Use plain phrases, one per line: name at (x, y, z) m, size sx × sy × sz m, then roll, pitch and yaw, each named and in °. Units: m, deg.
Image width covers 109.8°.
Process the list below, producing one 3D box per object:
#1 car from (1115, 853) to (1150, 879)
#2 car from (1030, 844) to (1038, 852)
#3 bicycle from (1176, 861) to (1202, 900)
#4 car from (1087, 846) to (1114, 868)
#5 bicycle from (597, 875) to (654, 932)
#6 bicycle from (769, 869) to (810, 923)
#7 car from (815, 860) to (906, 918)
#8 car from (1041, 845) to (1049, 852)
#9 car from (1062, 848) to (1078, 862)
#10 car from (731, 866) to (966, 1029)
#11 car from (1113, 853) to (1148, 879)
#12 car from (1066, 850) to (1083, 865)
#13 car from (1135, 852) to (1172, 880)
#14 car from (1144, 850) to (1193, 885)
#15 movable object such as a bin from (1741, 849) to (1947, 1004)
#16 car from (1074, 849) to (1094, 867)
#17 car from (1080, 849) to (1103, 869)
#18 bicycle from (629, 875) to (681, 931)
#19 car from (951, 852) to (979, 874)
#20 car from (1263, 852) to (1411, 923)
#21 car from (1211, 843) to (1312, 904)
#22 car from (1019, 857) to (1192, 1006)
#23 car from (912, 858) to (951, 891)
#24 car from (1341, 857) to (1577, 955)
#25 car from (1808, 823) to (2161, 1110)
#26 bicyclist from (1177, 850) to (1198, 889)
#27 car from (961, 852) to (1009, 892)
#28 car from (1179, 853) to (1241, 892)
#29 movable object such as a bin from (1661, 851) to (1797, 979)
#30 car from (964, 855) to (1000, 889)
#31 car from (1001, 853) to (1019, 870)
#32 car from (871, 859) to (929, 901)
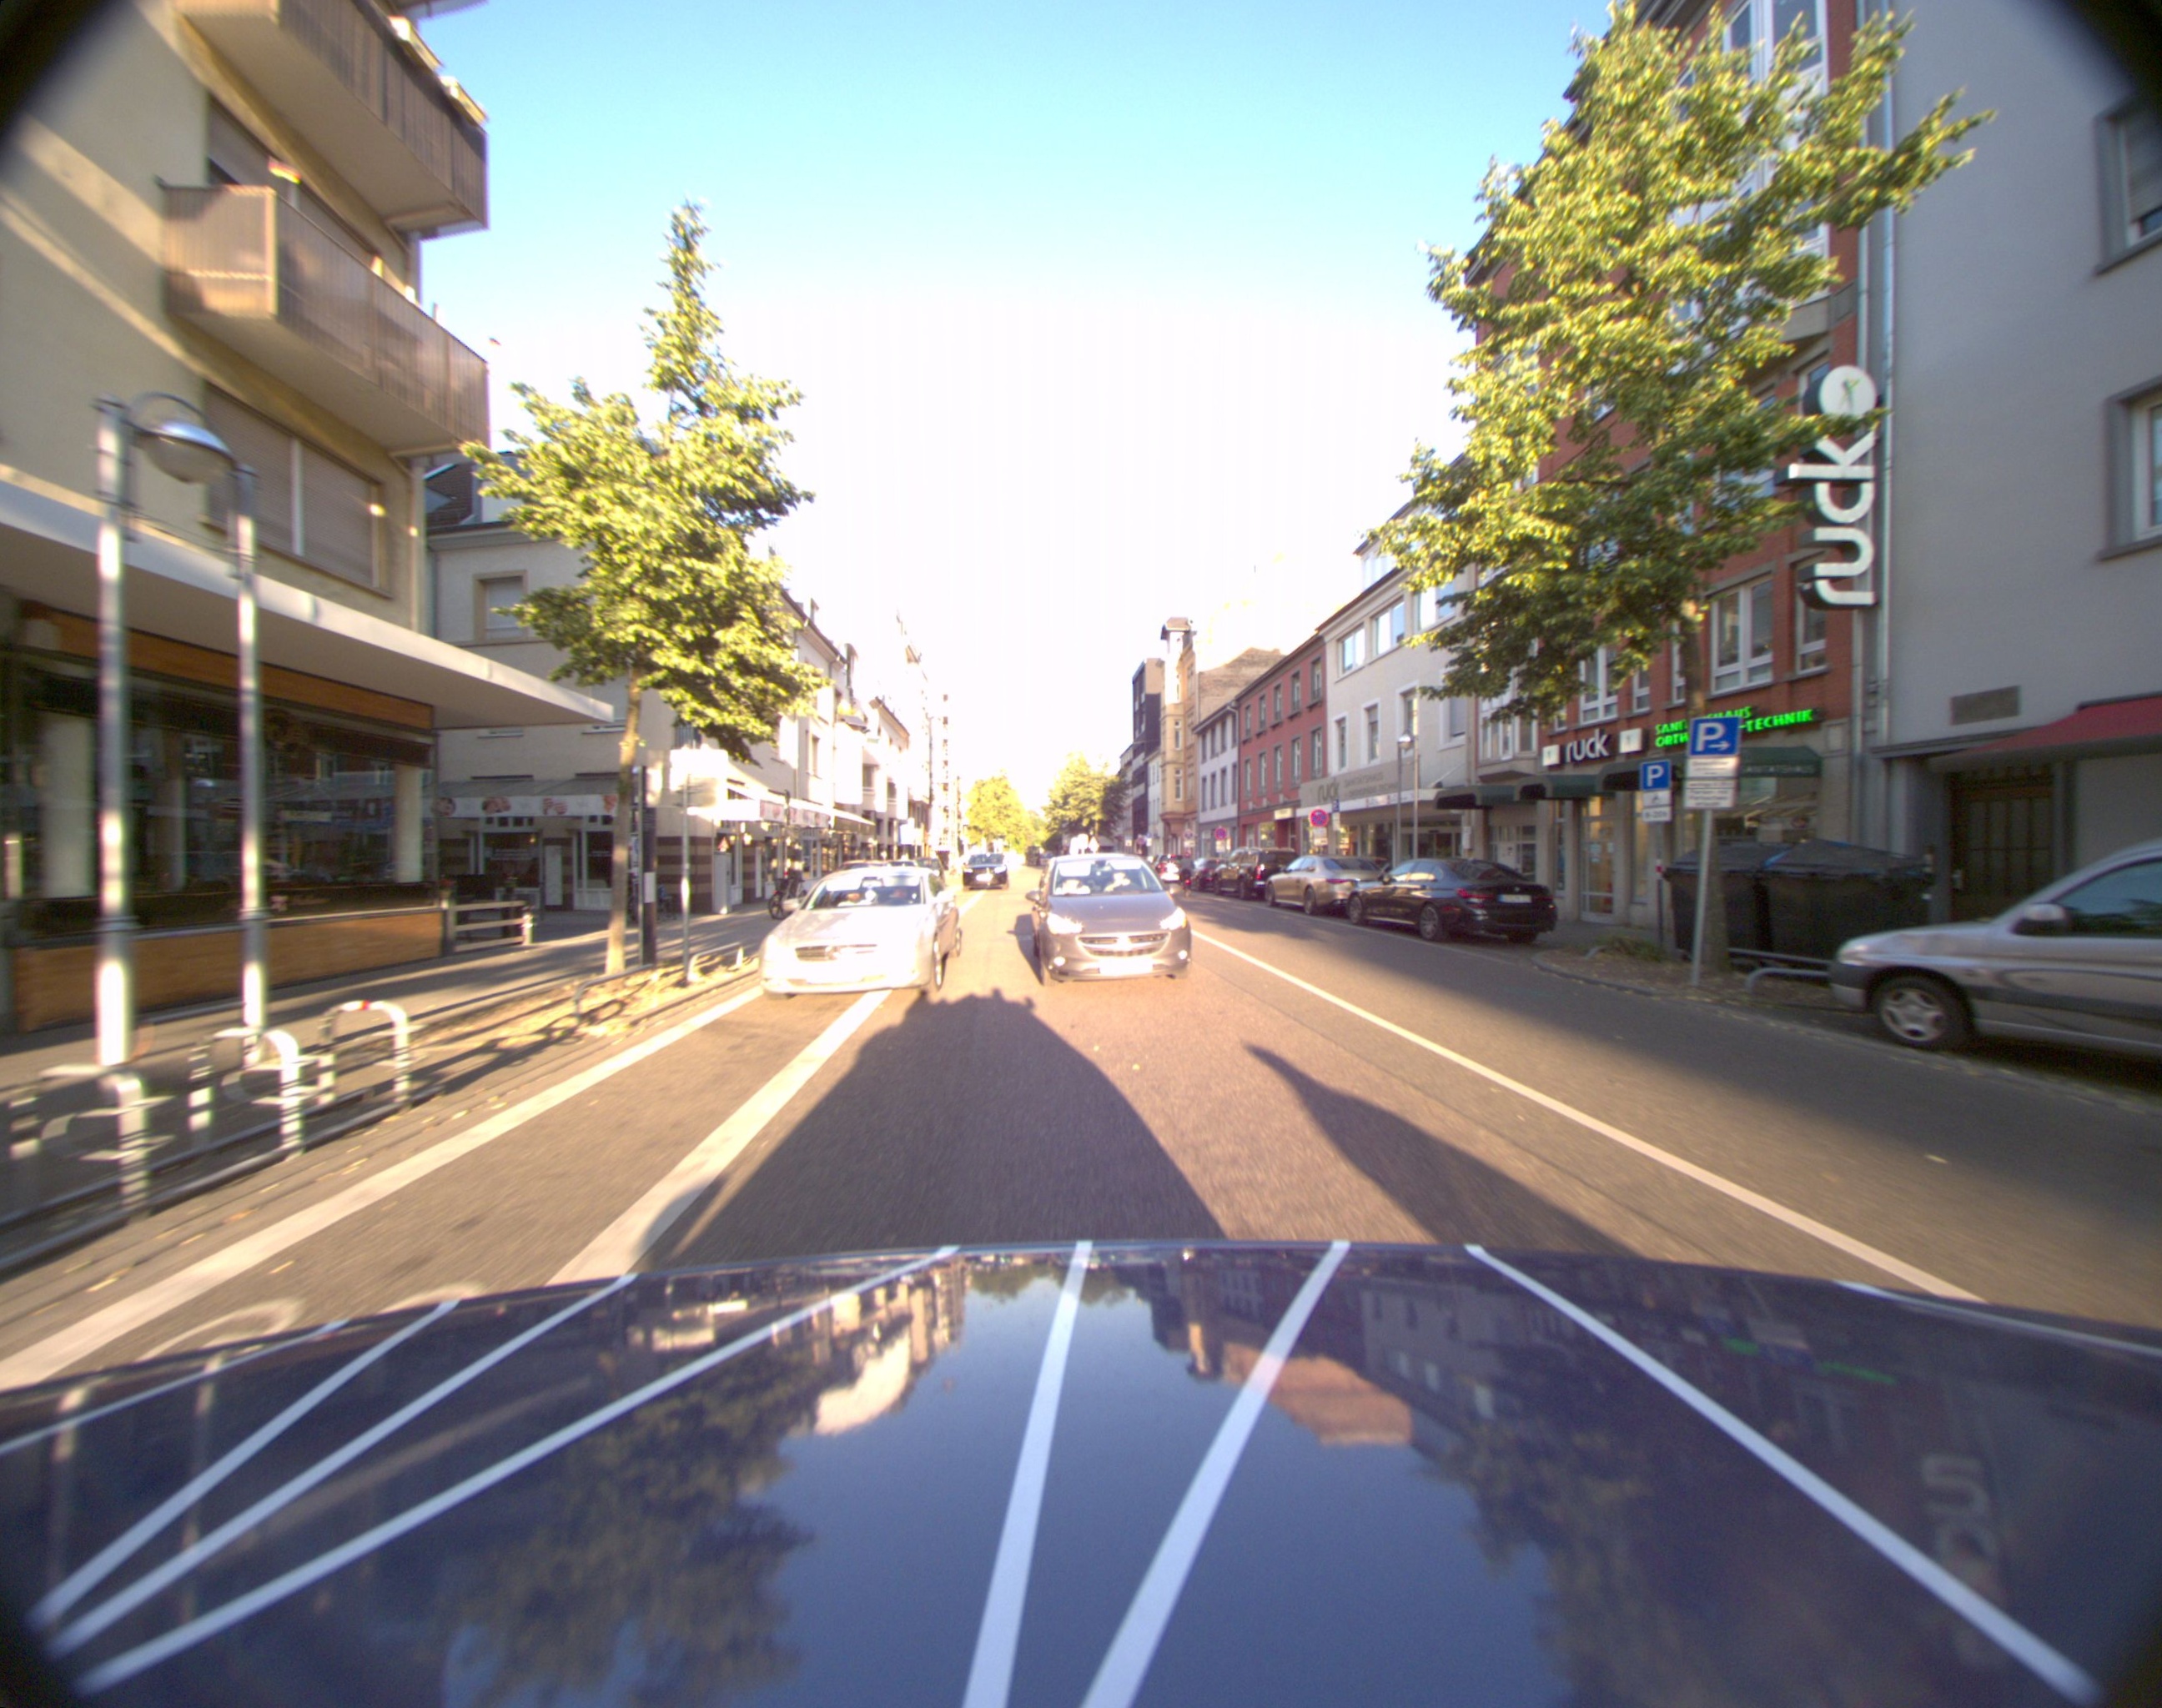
car at (3.347, 0.761, 50.038) m, size 1.792 × 1.504 × 3.776 m, roll -1°, pitch 1°, yaw -5°
car at (-10.458, -1.396, 167.274) m, size 1.673 × 1.630 × 3.254 m, roll -2°, pitch 1°, yaw -4°
bicycle at (3.710, 0.889, 26.231) m, size 0.420 × 1.230 × 1.693 m, roll -2°, pitch 1°, yaw -7°
car at (1.558, 0.198, 61.646) m, size 1.796 × 1.606 × 3.970 m, roll -2°, pitch 1°, yaw -4°
bicycle at (-10.227, 1.074, 17.133) m, size 0.332 × 1.123 × 2.010 m, roll -1°, pitch 1°, yaw -8°
bicycle at (-7.277, 1.035, 19.044) m, size 0.505 × 1.231 × 1.711 m, roll 1°, pitch 1°, yaw -5°
car at (-6.181, 0.916, 21.717) m, size 1.654 × 1.420 × 3.998 m, roll -2°, pitch 0°, yaw -4°
car at (-9.742, -1.411, 206.723) m, size 1.846 × 1.796 × 3.583 m, roll -2°, pitch 1°, yaw 1°
car at (-1.422, 0.066, 96.453) m, size 1.766 × 1.762 × 3.870 m, roll 0°, pitch 0°, yaw -4°
car at (-2.584, 0.939, 9.643) m, size 1.791 × 1.361 × 4.570 m, roll -2°, pitch 1°, yaw -4°
car at (3.498, 0.807, 54.582) m, size 1.882 × 1.667 × 4.034 m, roll -2°, pitch 1°, yaw -5°
car at (-0.779, 0.369, 87.341) m, size 1.788 × 1.762 × 3.870 m, roll 0°, pitch 0°, yaw -4°
car at (4.367, 0.680, 46.209) m, size 1.686 × 1.581 × 3.514 m, roll -1°, pitch 1°, yaw -4°
car at (4.670, 0.703, 41.058) m, size 1.877 × 1.718 × 4.138 m, roll -1°, pitch 1°, yaw -5°
movable object such as a bin at (8.425, 0.732, 8.478) m, size 0.753 × 1.535 × 1.483 m, roll -2°, pitch 2°, yaw -4°
car at (0.267, 0.414, 77.935) m, size 1.766 × 1.762 × 3.870 m, roll 0°, pitch 0°, yaw -4°
car at (0.942, 0.460, 68.556) m, size 1.766 × 1.762 × 3.870 m, roll 0°, pitch 0°, yaw -4°
bicycle at (-9.618, 1.078, 17.219) m, size 0.332 × 1.123 × 2.010 m, roll 0°, pitch 1°, yaw -8°
car at (-8.899, 0.669, 58.523) m, size 1.766 × 1.563 × 3.870 m, roll 0°, pitch 0°, yaw -4°
car at (6.352, 0.750, 19.541) m, size 1.896 × 1.590 × 4.942 m, roll 0°, pitch 0°, yaw -3°
car at (6.100, 0.625, 26.382) m, size 1.973 × 1.873 × 4.945 m, roll -1°, pitch 0°, yaw -5°
car at (0.115, 0.791, 9.698) m, size 1.588 × 1.445 × 3.839 m, roll -1°, pitch 1°, yaw -7°
car at (-7.027, 0.933, 35.863) m, size 1.431 × 1.443 × 3.379 m, roll -1°, pitch 0°, yaw -5°
car at (6.573, 0.799, 13.873) m, size 1.805 × 1.385 × 4.414 m, roll -1°, pitch 1°, yaw -5°
car at (7.219, 0.652, 4.511) m, size 1.720 × 1.654 × 3.996 m, roll -2°, pitch 1°, yaw -7°
bicyclist at (3.671, 0.525, 26.222) m, size 0.569 × 1.295 × 0.660 m, roll -2°, pitch 2°, yaw -6°
car at (-4.199, 0.744, 33.706) m, size 1.897 × 1.633 × 3.747 m, roll -1°, pitch 1°, yaw -5°
car at (5.428, 0.738, 32.462) m, size 1.737 × 1.516 × 3.840 m, roll 0°, pitch 0°, yaw -4°
movable object such as a bin at (8.327, 0.744, 9.819) m, size 0.748 × 1.526 × 1.100 m, roll -2°, pitch 1°, yaw -4°
car at (-5.059, 0.898, 39.332) m, size 1.692 × 1.534 × 3.729 m, roll -2°, pitch 1°, yaw -6°
car at (-7.384, 0.786, 79.094) m, size 1.693 × 1.644 × 3.731 m, roll -2°, pitch 1°, yaw -4°
car at (-6.740, 0.930, 28.624) m, size 1.615 × 1.386 × 3.693 m, roll -2°, pitch 1°, yaw -6°
